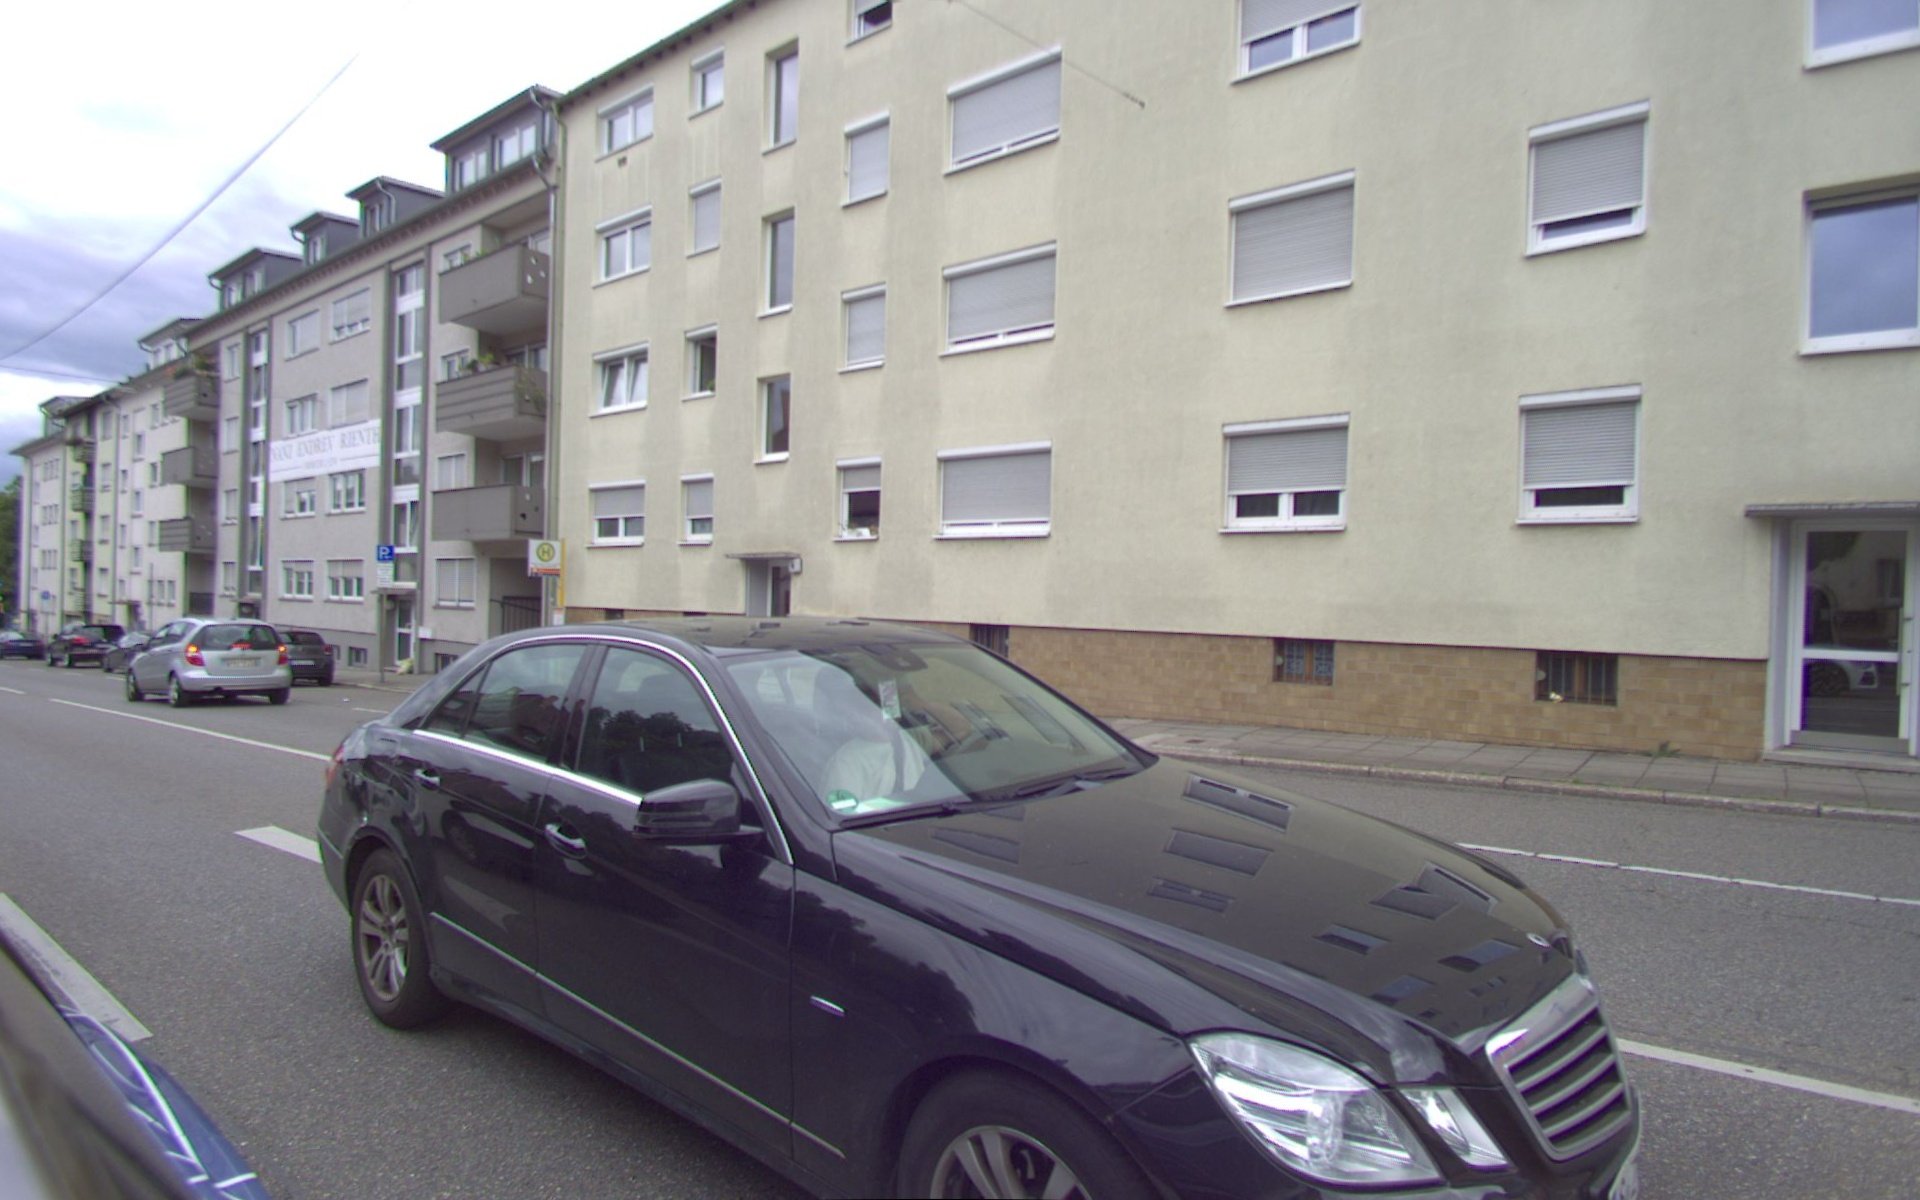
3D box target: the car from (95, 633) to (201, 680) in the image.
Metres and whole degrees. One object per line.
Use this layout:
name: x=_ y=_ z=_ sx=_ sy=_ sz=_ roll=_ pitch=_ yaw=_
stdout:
car: x=-26.465 y=1.798 z=32.941 sx=4.302 sy=1.416 sz=1.751 roll=-1 pitch=-3 yaw=38

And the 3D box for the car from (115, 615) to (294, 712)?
car: x=-14.241 y=1.123 z=19.004 sx=3.995 sy=1.630 sz=1.692 roll=-1 pitch=-2 yaw=38

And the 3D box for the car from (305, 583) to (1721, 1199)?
car: x=-0.367 y=0.740 z=3.275 sx=4.442 sy=1.465 sz=1.730 roll=-1 pitch=-1 yaw=40

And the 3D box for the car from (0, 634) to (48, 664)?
car: x=-46.422 y=2.374 z=49.708 sx=4.305 sy=1.391 sz=1.851 roll=-1 pitch=-4 yaw=41

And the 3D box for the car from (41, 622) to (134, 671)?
car: x=-33.508 y=1.776 z=38.828 sx=4.302 sy=1.767 sz=1.852 roll=-1 pitch=-4 yaw=39

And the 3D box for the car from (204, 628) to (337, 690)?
car: x=-17.815 y=1.499 z=26.098 sx=3.797 sy=1.447 sz=1.751 roll=-1 pitch=-4 yaw=39
